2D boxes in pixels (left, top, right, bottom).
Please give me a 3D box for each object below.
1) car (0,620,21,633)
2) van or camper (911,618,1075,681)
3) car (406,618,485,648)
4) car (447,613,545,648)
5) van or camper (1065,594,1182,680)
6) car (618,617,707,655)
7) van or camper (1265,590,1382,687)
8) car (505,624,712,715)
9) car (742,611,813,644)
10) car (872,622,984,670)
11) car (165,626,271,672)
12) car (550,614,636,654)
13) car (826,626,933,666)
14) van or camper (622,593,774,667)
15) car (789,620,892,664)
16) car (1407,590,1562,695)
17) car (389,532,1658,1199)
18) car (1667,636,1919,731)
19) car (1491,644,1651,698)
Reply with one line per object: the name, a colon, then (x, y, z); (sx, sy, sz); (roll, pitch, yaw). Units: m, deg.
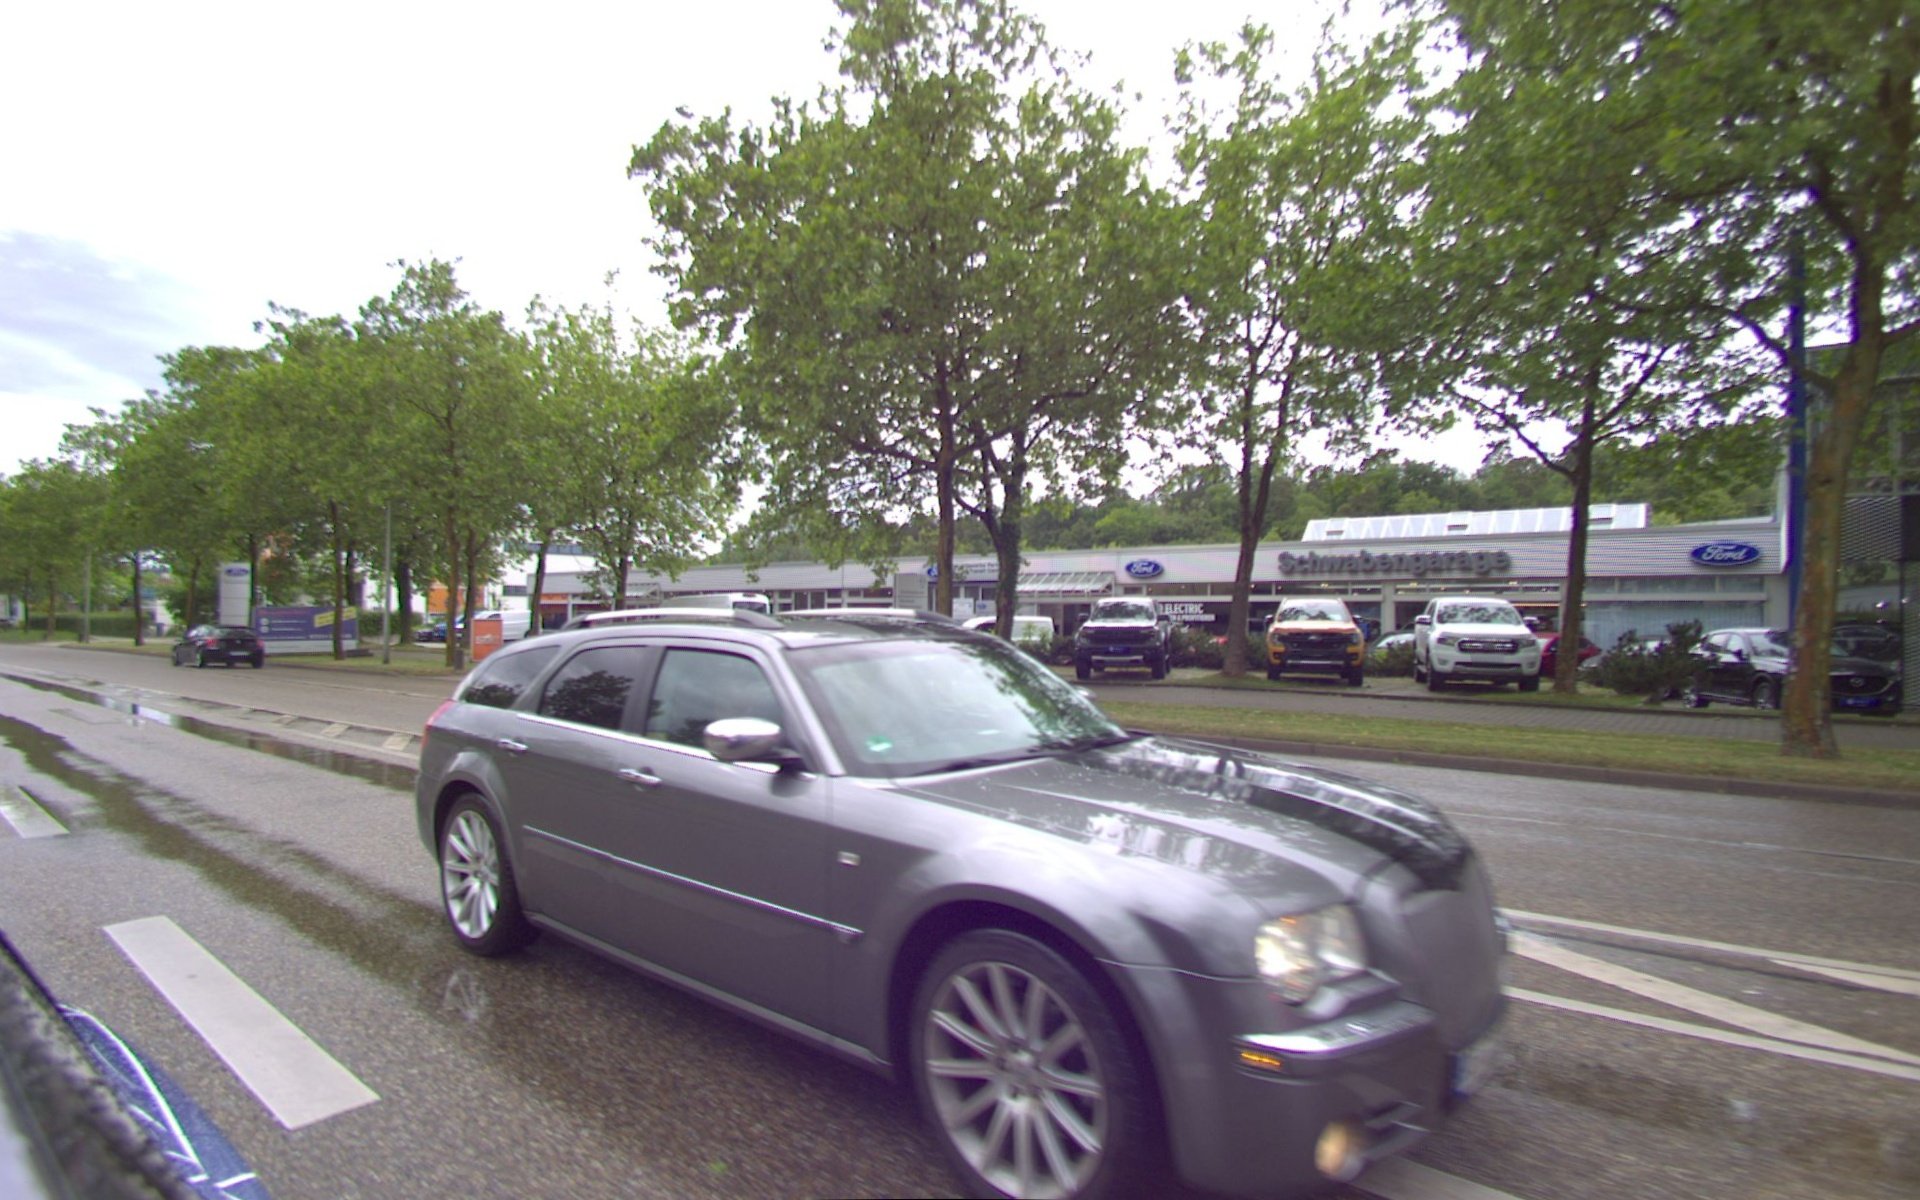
car: (-122.329, 3.415, 130.226); (3.999, 1.545, 1.723); (-1, -3, 42)
van or camper: (1.001, 1.439, 30.497); (4.566, 1.798, 1.845); (1, -2, -25)
car: (-33.247, 2.114, 65.474); (2.065, 1.827, 4.082); (-1, -2, 42)
car: (-28.299, 1.843, 61.868); (2.127, 2.029, 4.995); (-1, -2, 39)
van or camper: (4.055, 0.857, 24.304); (2.245, 1.835, 5.273); (-1, -1, 15)
car: (-14.797, 1.773, 50.481); (1.880, 1.780, 3.948); (-1, -2, 38)
van or camper: (7.949, 0.805, 22.481); (2.088, 1.783, 5.343); (3, -1, 18)
car: (-6.479, 1.190, 18.498); (4.081, 1.476, 1.693); (-1, -3, 40)
car: (-11.147, 1.647, 62.209); (2.367, 1.852, 5.327); (0, 0, 13)
car: (-1.232, 1.756, 39.418); (3.932, 1.780, 1.870); (1, -2, -33)
car: (-24.573, 1.581, 33.457); (4.533, 1.440, 1.719); (-1, -3, 39)
car: (-19.632, 1.797, 54.220); (1.880, 2.029, 3.948); (-1, -2, 38)
car: (-3.244, 1.828, 41.019); (3.933, 1.532, 1.870); (1, -2, -35)
van or camper: (-9.654, 1.070, 36.915); (6.395, 2.489, 1.974); (-1, 0, 40)
car: (-5.042, 1.741, 42.933); (3.933, 1.780, 1.870); (1, -2, -34)
car: (10.217, 0.807, 20.065); (1.984, 1.829, 4.441); (-1, -2, 18)
car: (-0.305, 0.742, 4.012); (4.878, 1.590, 1.887); (-1, -2, 41)
car: (14.999, 1.400, 18.312); (1.979, 1.461, 4.451); (0, -1, 12)
car: (15.842, 1.809, 26.234); (3.714, 1.265, 1.660); (1, -1, -23)
